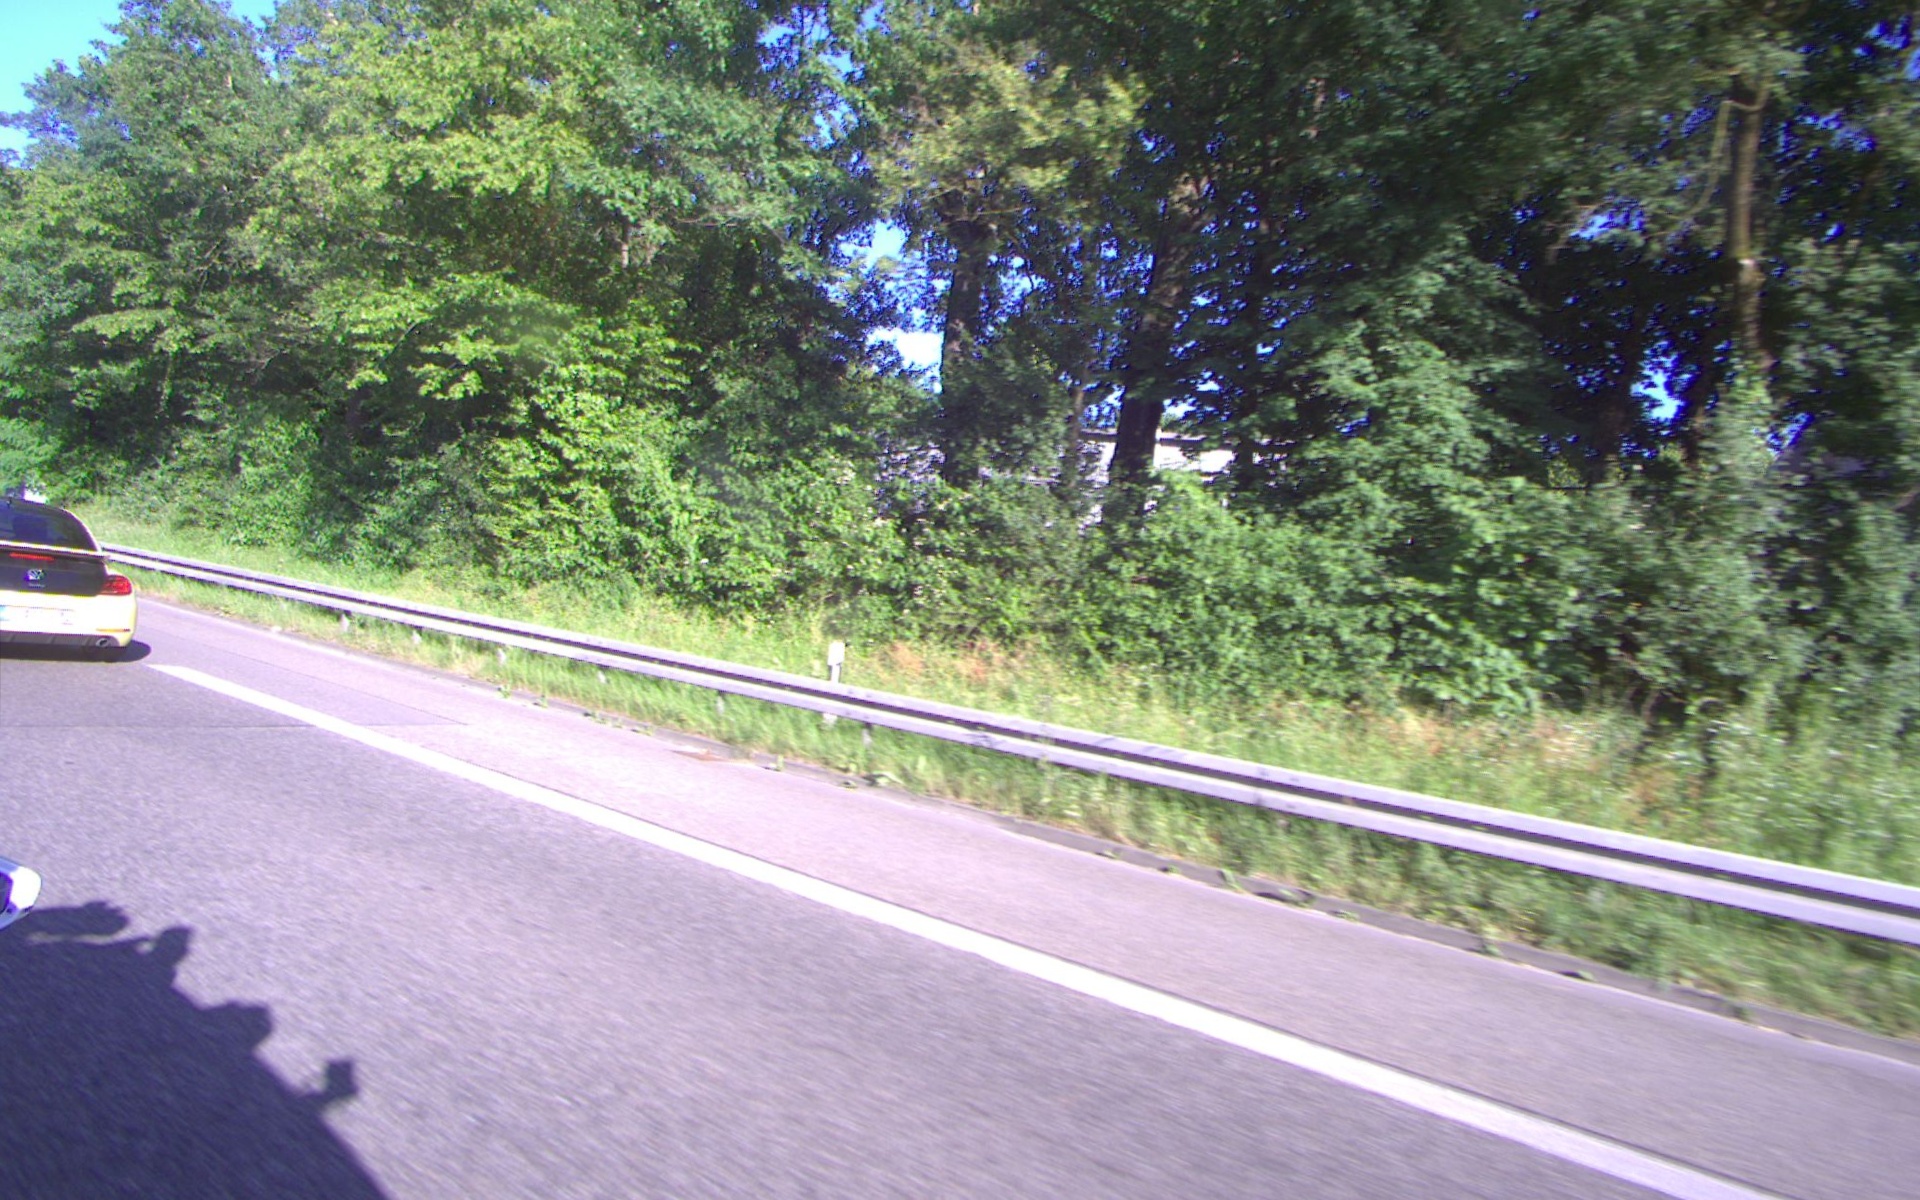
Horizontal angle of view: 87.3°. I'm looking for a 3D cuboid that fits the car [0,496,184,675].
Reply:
[{"bbox_3d":[-9.875,-0.323,10.018,4.283,1.479,1.883,7,-1,31],"label":"car"}]
